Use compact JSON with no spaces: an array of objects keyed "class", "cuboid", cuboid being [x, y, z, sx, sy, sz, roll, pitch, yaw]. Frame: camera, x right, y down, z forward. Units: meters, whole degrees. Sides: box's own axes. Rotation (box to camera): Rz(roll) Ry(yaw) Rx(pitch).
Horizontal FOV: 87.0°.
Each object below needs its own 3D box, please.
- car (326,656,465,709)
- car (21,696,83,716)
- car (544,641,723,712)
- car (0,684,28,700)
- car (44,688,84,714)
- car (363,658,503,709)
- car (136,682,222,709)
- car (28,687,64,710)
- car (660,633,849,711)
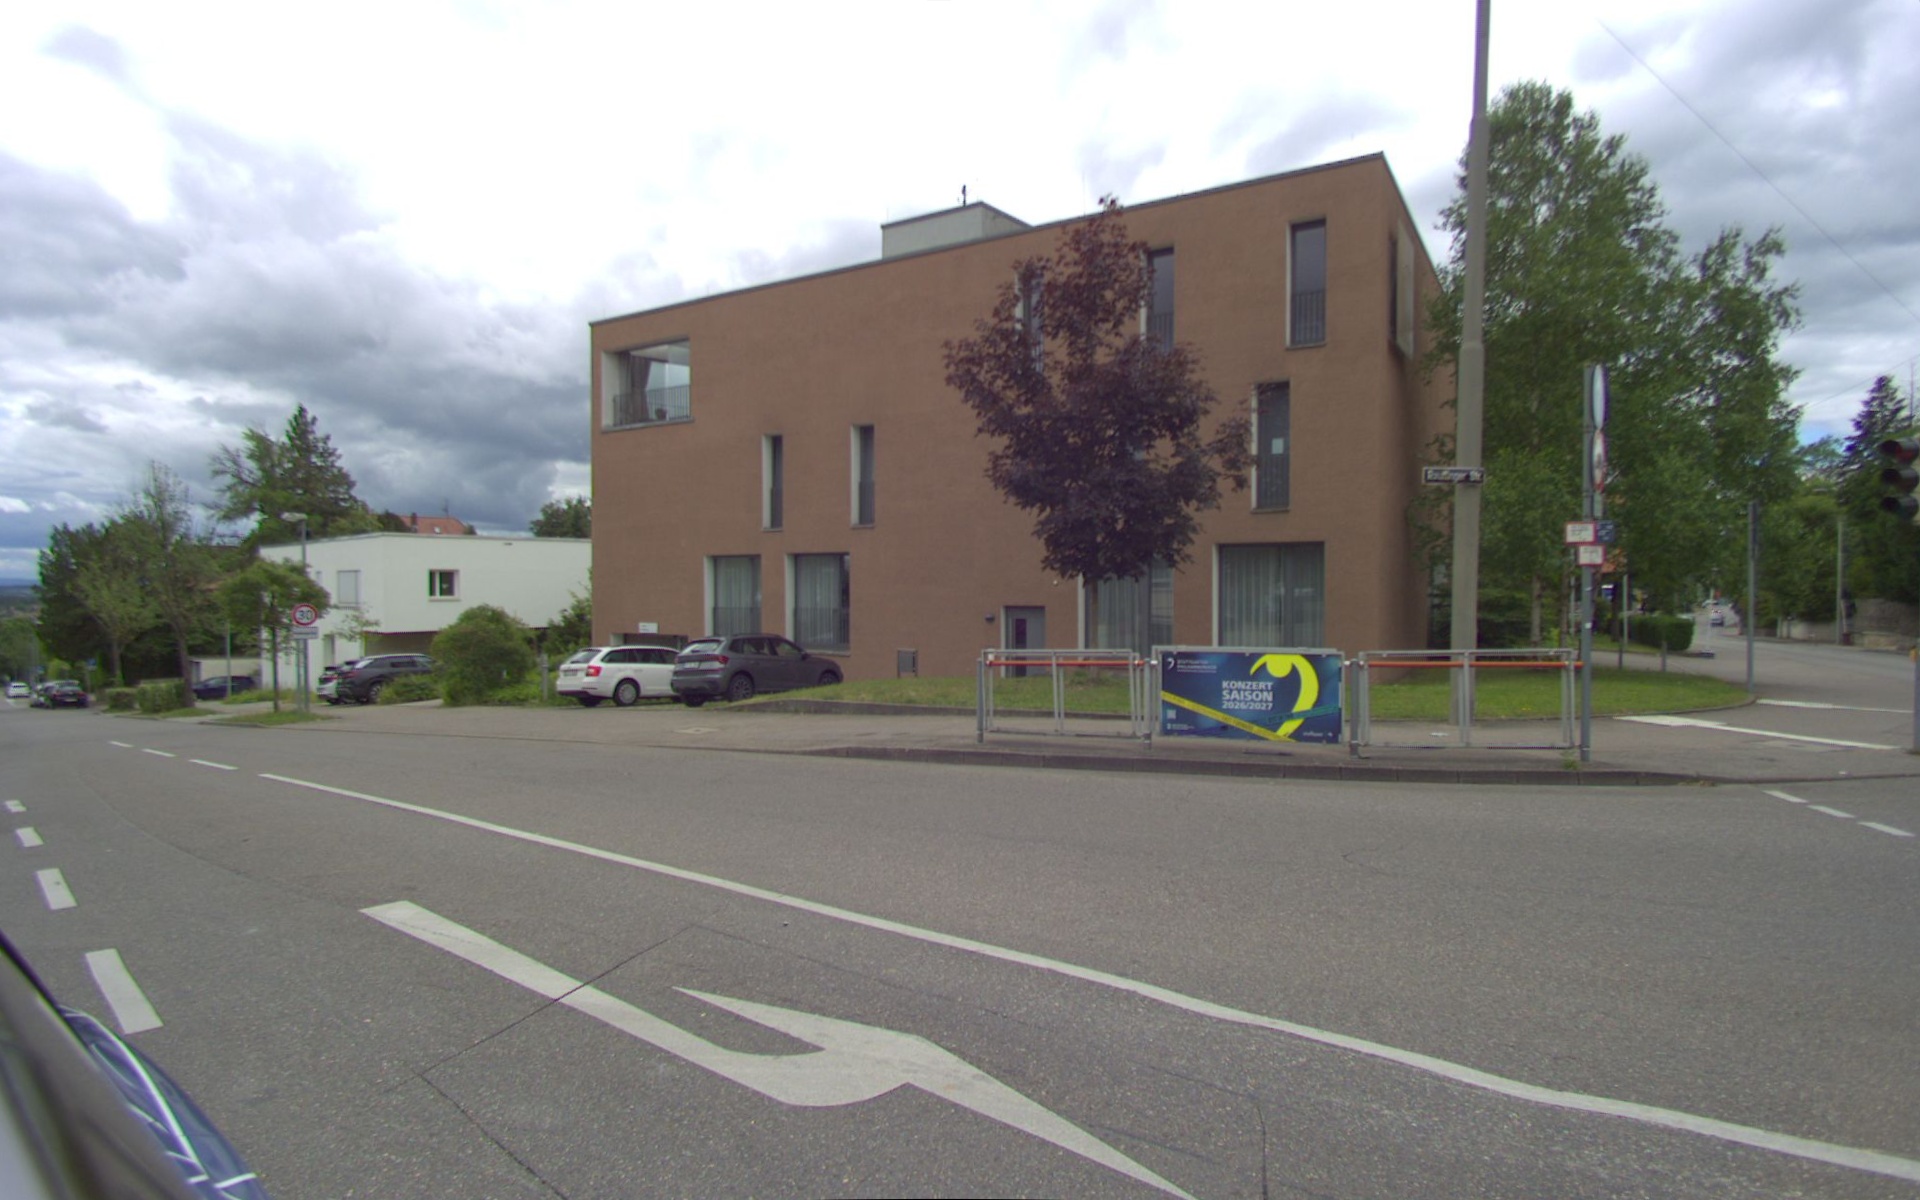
[{"class":"car","cuboid":[-19.987,2.898,35.926,1.793,1.608,3.943,-6,-4,43]},{"class":"car","cuboid":[-81.884,9.551,91.290,1.723,1.497,3.952,-5,-3,35]},{"class":"car","cuboid":[-8.008,1.857,25.115,1.724,1.497,3.950,-5,-4,37]},{"class":"car","cuboid":[-95.928,9.297,102.335,4.362,1.432,1.861,-3,-3,38]},{"class":"car","cuboid":[-54.950,6.169,62.056,1.638,1.432,4.003,0,-4,-44]},{"class":"car","cuboid":[-18.244,2.878,35.141,1.727,1.497,3.943,-6,-4,43]},{"class":"car","cuboid":[-46.988,5.737,60.923,3.939,1.296,1.665,0,-4,-43]},{"class":"car","cuboid":[-61.574,6.627,68.133,1.638,1.432,4.371,0,-4,-44]},{"class":"car","cuboid":[-4.478,1.565,22.490,1.724,1.497,3.950,-5,-4,37]}]
